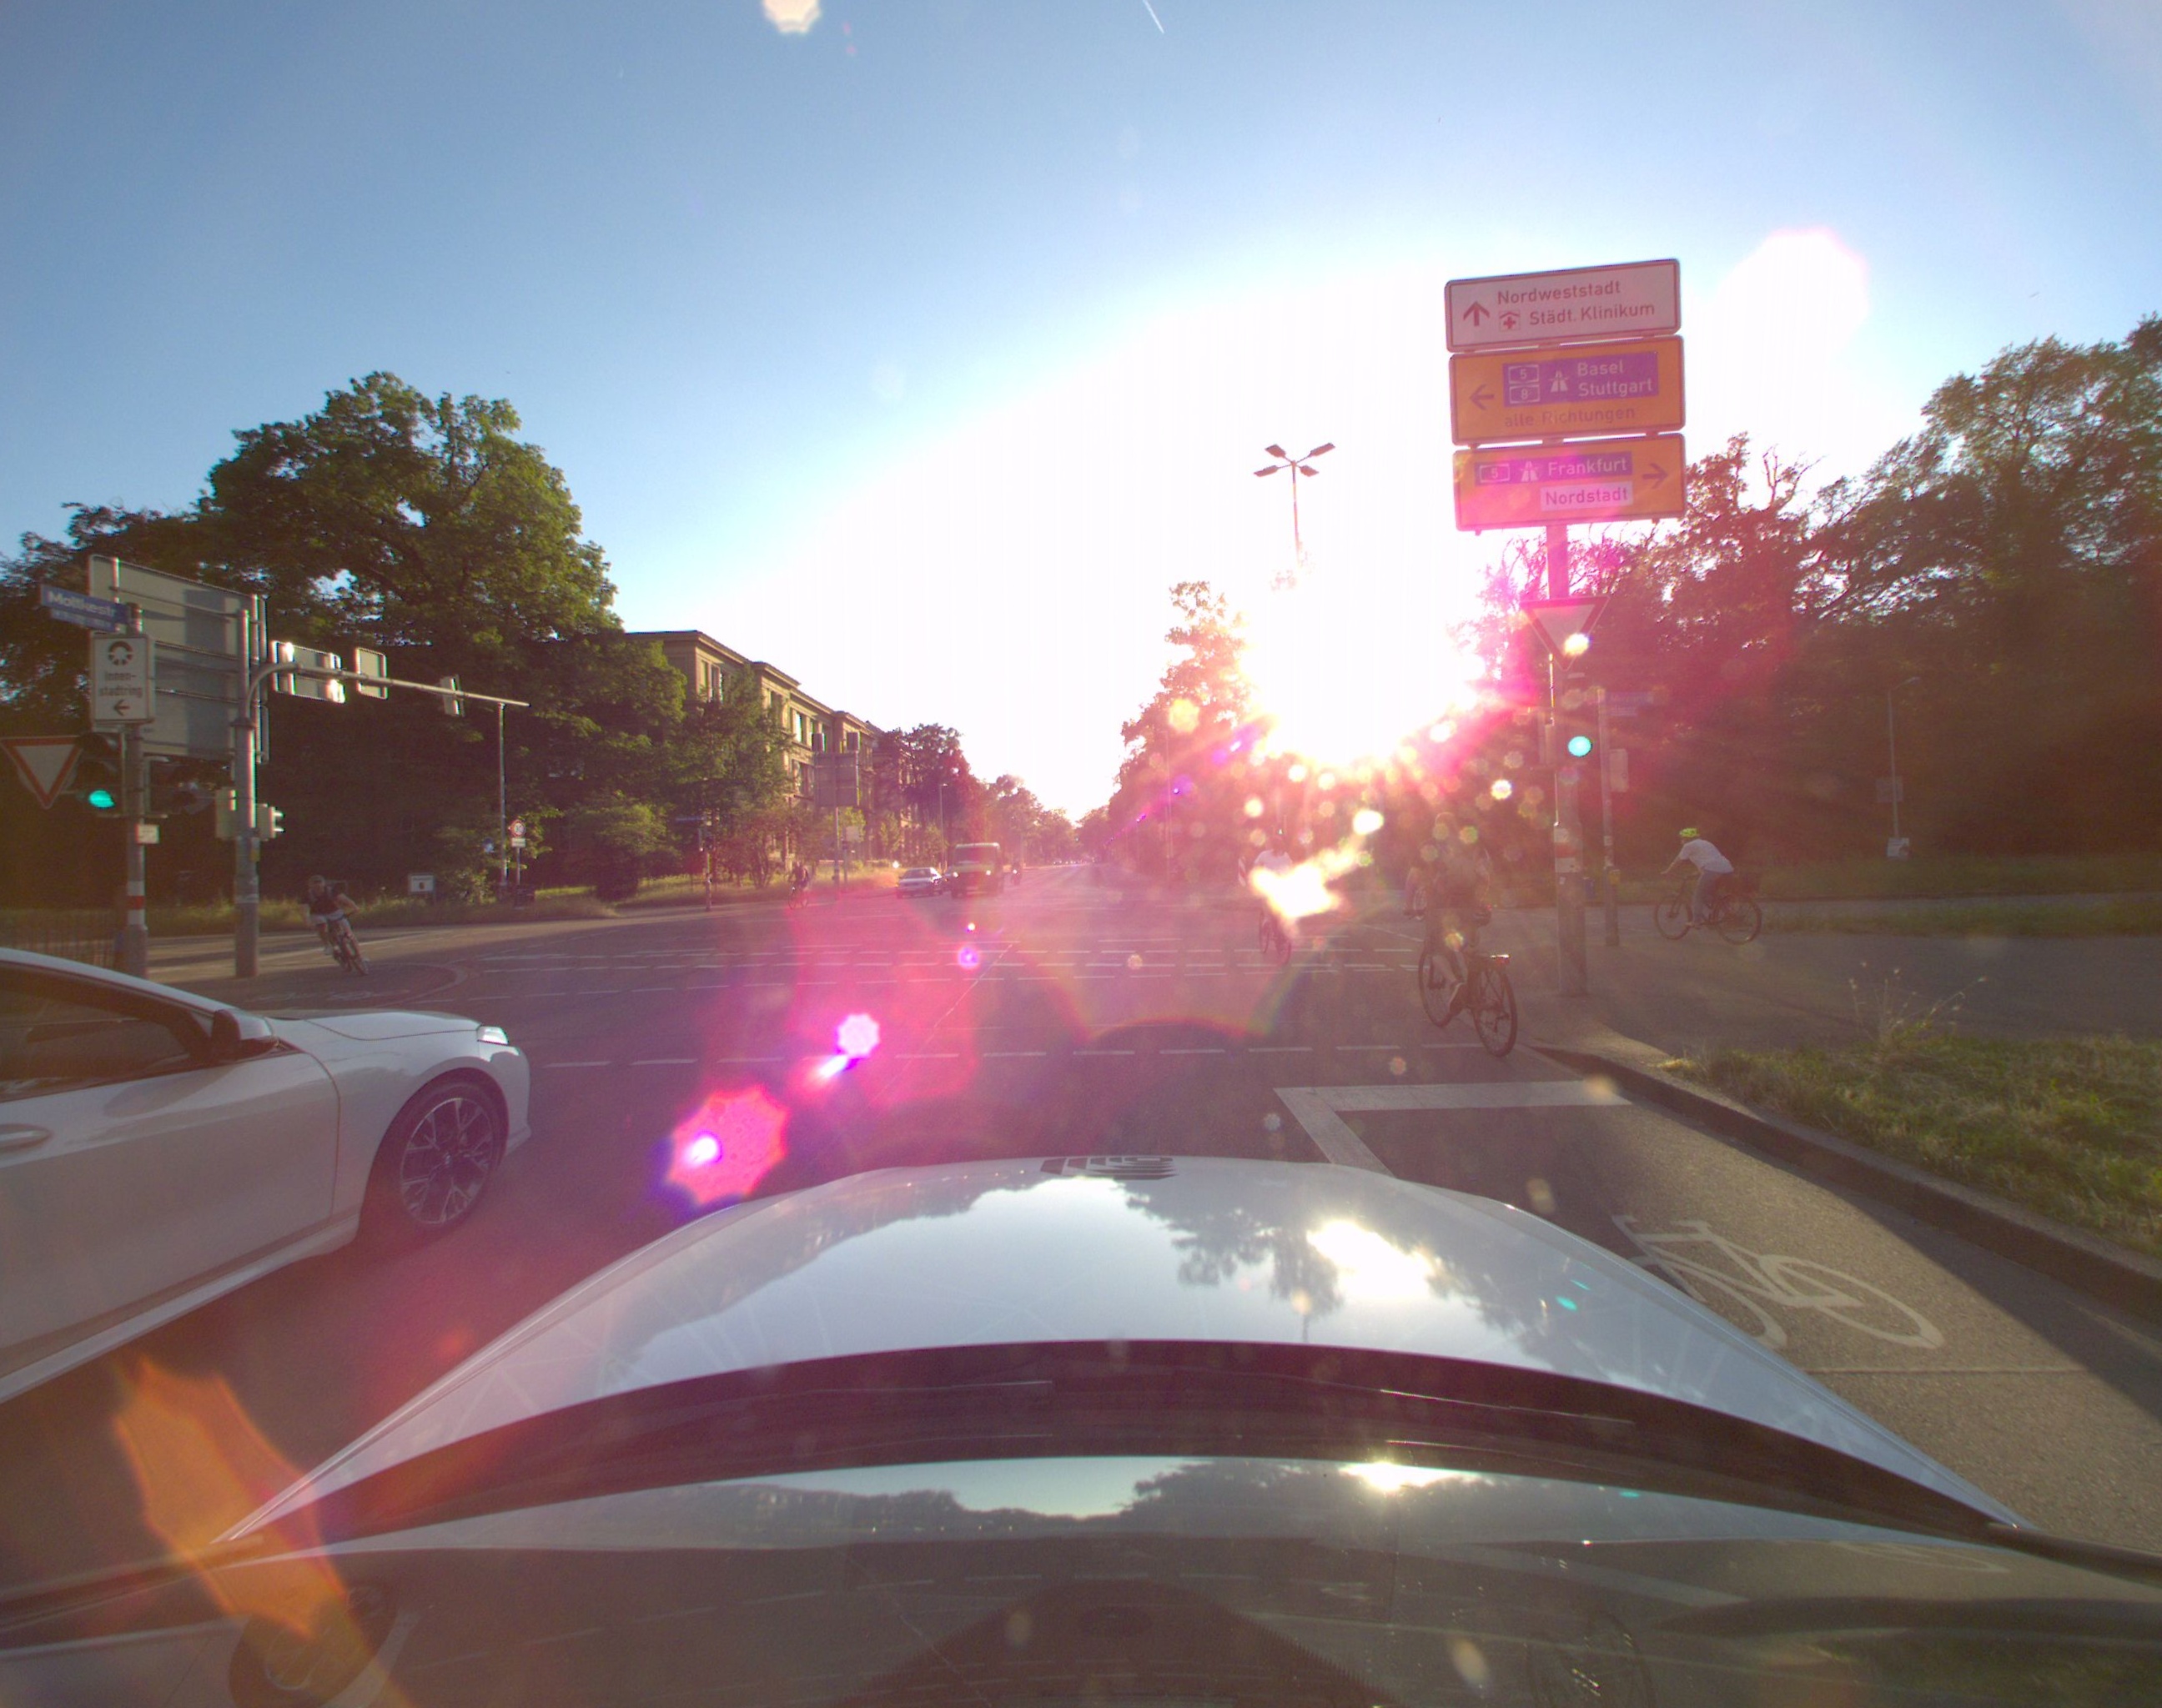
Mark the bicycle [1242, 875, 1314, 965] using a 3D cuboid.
[{"bbox_3d":[2.798,0.901,11.736,0.611,1.138,1.885,-1,-1,2],"label":"bicycle"}]

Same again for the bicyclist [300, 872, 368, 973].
[{"bbox_3d":[-12.557,1.116,13.694,0.903,1.633,0.657,-1,-1,35],"label":"bicyclist"}]

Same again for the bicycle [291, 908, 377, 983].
[{"bbox_3d":[-12.606,1.507,13.725,1.878,1.089,0.664,0,-1,35],"label":"bicycle"}]

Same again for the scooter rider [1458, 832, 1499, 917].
[{"bbox_3d":[8.421,0.432,17.278,0.563,1.767,0.505,-2,-1,2],"label":"scooter rider"}]

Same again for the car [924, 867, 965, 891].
[{"bbox_3d":[-8.294,1.518,49.841,1.758,1.328,3.644,-2,-1,1],"label":"car"}]

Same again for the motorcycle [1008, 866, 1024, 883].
[{"bbox_3d":[-4.146,1.320,52.161,0.751,1.001,1.879,-2,-1,1],"label":"motorcycle"}]

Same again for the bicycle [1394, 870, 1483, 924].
[{"bbox_3d":[7.294,0.847,16.731,0.770,1.007,2.012,-1,0,-6],"label":"bicycle"}]

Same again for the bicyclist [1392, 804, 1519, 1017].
[{"bbox_3d":[3.093,0.447,6.797,0.696,1.667,0.799,-1,-1,2],"label":"bicyclist"}]

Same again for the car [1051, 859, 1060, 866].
[{"bbox_3d":[-5.755,1.969,183.407,1.766,1.474,3.772,-2,-1,-2],"label":"car"}]

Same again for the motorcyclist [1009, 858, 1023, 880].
[{"bbox_3d":[-4.162,0.982,52.123,0.747,1.358,0.704,-2,-1,1],"label":"motorcyclist"}]

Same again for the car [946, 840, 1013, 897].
[{"bbox_3d":[-4.472,0.636,36.692,2.031,2.278,5.943,-2,-1,2],"label":"car"}]

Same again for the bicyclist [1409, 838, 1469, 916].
[{"bbox_3d":[7.297,0.460,16.626,0.758,1.518,0.855,-1,-1,-6],"label":"bicyclist"}]

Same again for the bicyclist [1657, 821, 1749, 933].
[{"bbox_3d":[9.176,0.329,12.040,0.554,1.569,0.895,-2,-1,-12],"label":"bicyclist"}]

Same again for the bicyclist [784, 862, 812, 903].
[{"bbox_3d":[-10.789,1.078,31.051,0.680,1.512,0.956,-2,-1,1],"label":"bicyclist"}]

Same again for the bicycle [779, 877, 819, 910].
[{"bbox_3d":[-10.771,1.490,31.172,0.684,1.123,2.169,-2,-1,2],"label":"bicycle"}]

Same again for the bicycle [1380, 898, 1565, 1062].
[{"bbox_3d":[3.093,0.937,6.657,0.696,1.063,1.826,-1,-1,3],"label":"bicycle"}]

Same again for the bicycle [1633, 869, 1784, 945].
[{"bbox_3d":[9.192,0.739,12.027,0.564,1.014,1.794,-2,-1,-12],"label":"bicycle"}]

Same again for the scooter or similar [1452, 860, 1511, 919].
[{"bbox_3d":[8.431,0.733,17.210,0.559,1.189,1.423,-2,-1,3],"label":"scooter or similar"}]

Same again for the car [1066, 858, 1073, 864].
[{"bbox_3d":[-3.183,1.866,229.754,1.988,1.640,3.997,-2,-1,-2],"label":"car"}]

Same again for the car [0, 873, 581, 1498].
[{"bbox_3d":[-3.490,0.845,2.090,1.746,1.466,4.189,-2,-1,1],"label":"car"}]

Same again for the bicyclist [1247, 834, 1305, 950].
[{"bbox_3d":[2.789,0.527,11.727,0.601,1.586,0.910,-1,-1,1],"label":"bicyclist"}]

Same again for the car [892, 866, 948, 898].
[{"bbox_3d":[-7.824,1.313,39.923,1.723,1.409,4.141,-2,-1,1],"label":"car"}]

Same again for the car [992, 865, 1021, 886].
[{"bbox_3d":[-6.104,1.762,67.261,1.758,1.635,4.514,-2,-1,2],"label":"car"}]
